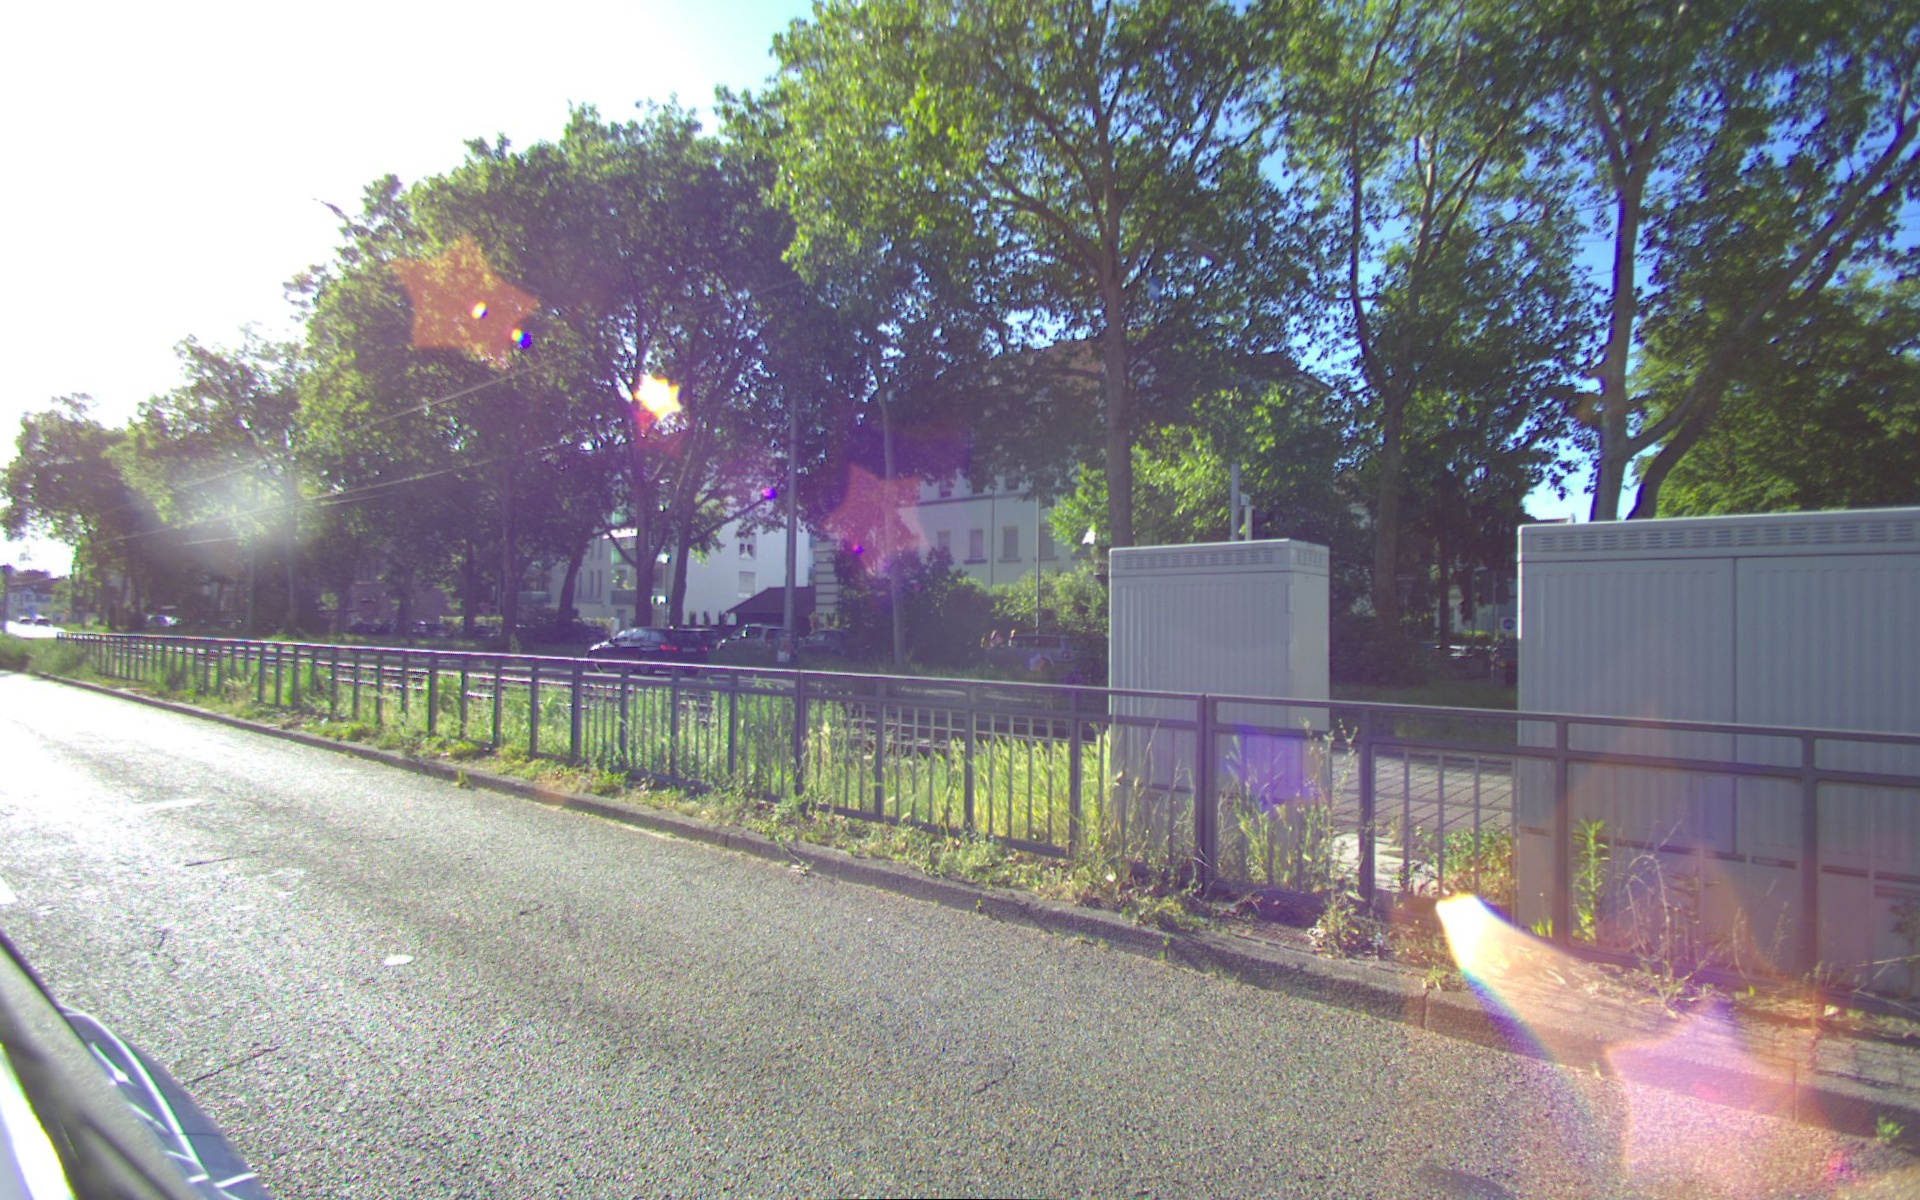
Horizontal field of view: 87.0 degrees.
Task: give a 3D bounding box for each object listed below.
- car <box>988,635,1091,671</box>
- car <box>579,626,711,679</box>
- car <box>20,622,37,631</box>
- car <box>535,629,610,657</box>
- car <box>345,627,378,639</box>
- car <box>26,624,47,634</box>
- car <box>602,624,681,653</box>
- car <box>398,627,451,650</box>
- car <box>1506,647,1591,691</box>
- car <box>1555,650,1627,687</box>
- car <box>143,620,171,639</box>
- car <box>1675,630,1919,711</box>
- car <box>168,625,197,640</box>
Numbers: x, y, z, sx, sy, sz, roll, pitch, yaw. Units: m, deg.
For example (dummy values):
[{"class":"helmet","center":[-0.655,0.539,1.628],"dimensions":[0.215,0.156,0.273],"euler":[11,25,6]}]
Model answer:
[{"class":"car","center":[2.641,1.749,33.861],"dimensions":[3.213,1.125,1.458],"euler":[-1,-2,38]},{"class":"car","center":[-9.609,1.540,30.716],"dimensions":[4.337,1.510,1.667],"euler":[-1,-2,38]},{"class":"car","center":[-170.287,4.851,184.964],"dimensions":[4.000,1.720,1.971],"euler":[-1,-2,43]},{"class":"car","center":[-20.856,2.294,54.395],"dimensions":[4.317,1.464,1.972],"euler":[-1,-3,42]},{"class":"car","center":[-43.071,2.374,72.797],"dimensions":[3.058,0.883,1.094],"euler":[-1,-2,41]},{"class":"car","center":[-143.129,4.485,156.850],"dimensions":[4.456,1.660,1.839],"euler":[-1,-2,40]},{"class":"car","center":[-15.777,1.900,50.083],"dimensions":[4.459,1.334,1.623],"euler":[-1,-4,42]},{"class":"car","center":[-35.327,2.504,66.702],"dimensions":[3.998,1.484,1.778],"euler":[-1,-2,41]},{"class":"car","center":[21.587,2.483,37.060],"dimensions":[1.999,1.429,3.945],"euler":[-1,-2,41]},{"class":"car","center":[27.066,2.888,43.344],"dimensions":[1.999,1.429,3.945],"euler":[-1,-2,41]},{"class":"car","center":[-88.266,3.185,111.271],"dimensions":[1.970,2.029,4.002],"euler":[1,-2,-45]},{"class":"car","center":[17.652,1.418,21.291],"dimensions":[4.141,1.521,1.652],"euler":[-1,-2,40]},{"class":"car","center":[-80.147,3.349,104.301],"dimensions":[3.687,1.497,1.748],"euler":[-1,-2,42]}]
